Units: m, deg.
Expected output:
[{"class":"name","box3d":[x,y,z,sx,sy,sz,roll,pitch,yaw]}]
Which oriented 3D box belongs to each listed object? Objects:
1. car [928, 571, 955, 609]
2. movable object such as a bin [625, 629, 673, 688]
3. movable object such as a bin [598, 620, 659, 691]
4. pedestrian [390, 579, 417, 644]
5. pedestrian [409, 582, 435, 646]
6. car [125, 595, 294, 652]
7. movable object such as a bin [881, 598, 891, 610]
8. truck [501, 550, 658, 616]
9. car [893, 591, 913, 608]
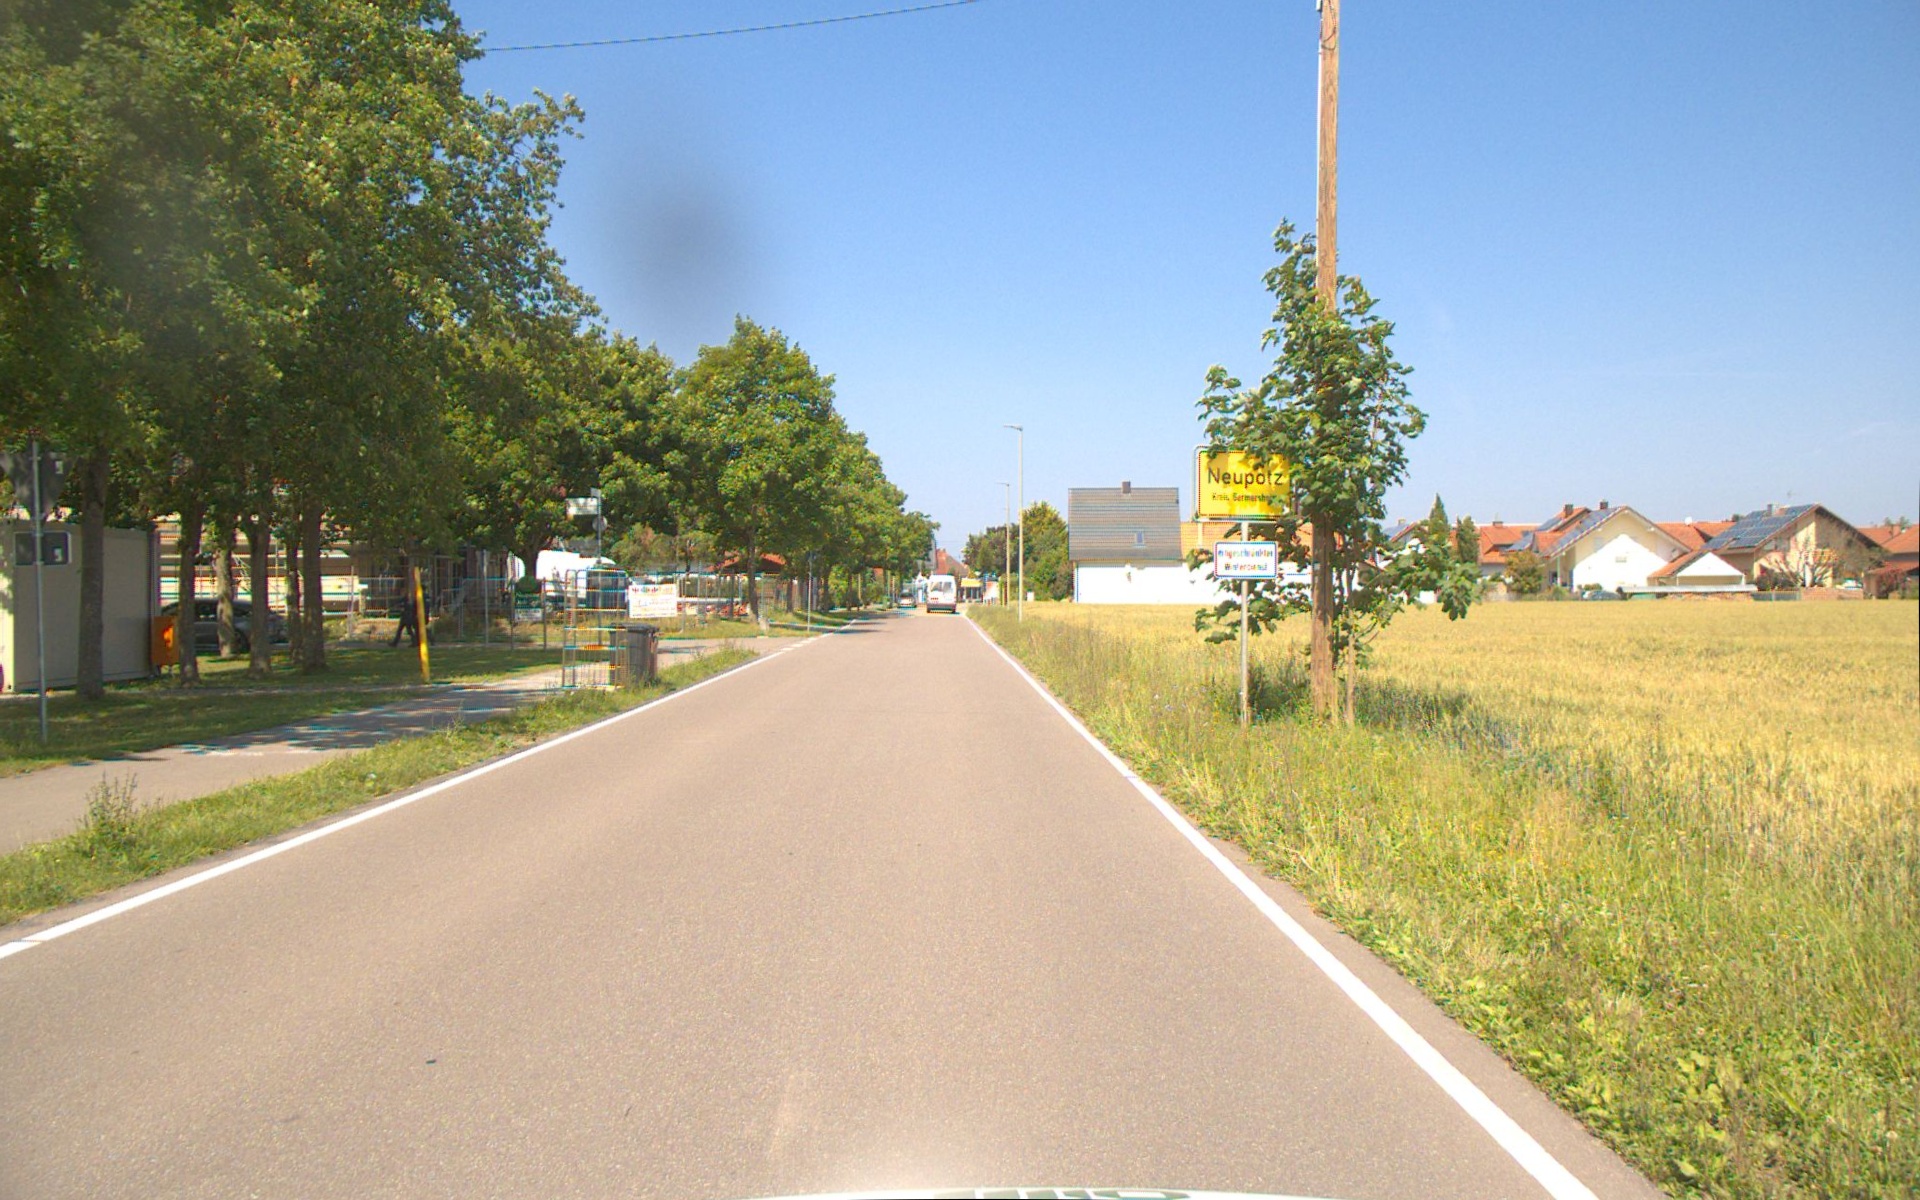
[{"class":"car","box3d":[-1.236,-0.644,111.262,1.702,2.474,4.374,-1,0,0]},{"class":"movable object such as a bin","box3d":[-4.832,0.907,25.728,0.550,0.892,0.614,-1,0,7]},{"class":"movable object such as a bin","box3d":[-4.988,0.831,24.940,0.684,1.042,0.748,-1,0,7]},{"class":"pedestrian","box3d":[-15.490,0.325,46.025,0.592,1.781,0.585,-1,0,-10]},{"class":"pedestrian","box3d":[-15.180,0.382,46.693,0.592,1.781,0.585,-1,0,-10]},{"class":"car","box3d":[-19.914,0.610,44.028,3.729,1.423,1.756,-1,0,-8]},{"class":"movable object such as a bin","box3d":[-6.497,0.359,145.635,0.699,1.097,0.639,-1,0,26]},{"class":"truck","box3d":[-15.125,-0.638,65.988,5.871,2.527,1.973,0,-1,-38]},{"class":"car","box3d":[-5.185,-0.006,151.066,1.613,1.448,4.079,-3,0,-1]}]
